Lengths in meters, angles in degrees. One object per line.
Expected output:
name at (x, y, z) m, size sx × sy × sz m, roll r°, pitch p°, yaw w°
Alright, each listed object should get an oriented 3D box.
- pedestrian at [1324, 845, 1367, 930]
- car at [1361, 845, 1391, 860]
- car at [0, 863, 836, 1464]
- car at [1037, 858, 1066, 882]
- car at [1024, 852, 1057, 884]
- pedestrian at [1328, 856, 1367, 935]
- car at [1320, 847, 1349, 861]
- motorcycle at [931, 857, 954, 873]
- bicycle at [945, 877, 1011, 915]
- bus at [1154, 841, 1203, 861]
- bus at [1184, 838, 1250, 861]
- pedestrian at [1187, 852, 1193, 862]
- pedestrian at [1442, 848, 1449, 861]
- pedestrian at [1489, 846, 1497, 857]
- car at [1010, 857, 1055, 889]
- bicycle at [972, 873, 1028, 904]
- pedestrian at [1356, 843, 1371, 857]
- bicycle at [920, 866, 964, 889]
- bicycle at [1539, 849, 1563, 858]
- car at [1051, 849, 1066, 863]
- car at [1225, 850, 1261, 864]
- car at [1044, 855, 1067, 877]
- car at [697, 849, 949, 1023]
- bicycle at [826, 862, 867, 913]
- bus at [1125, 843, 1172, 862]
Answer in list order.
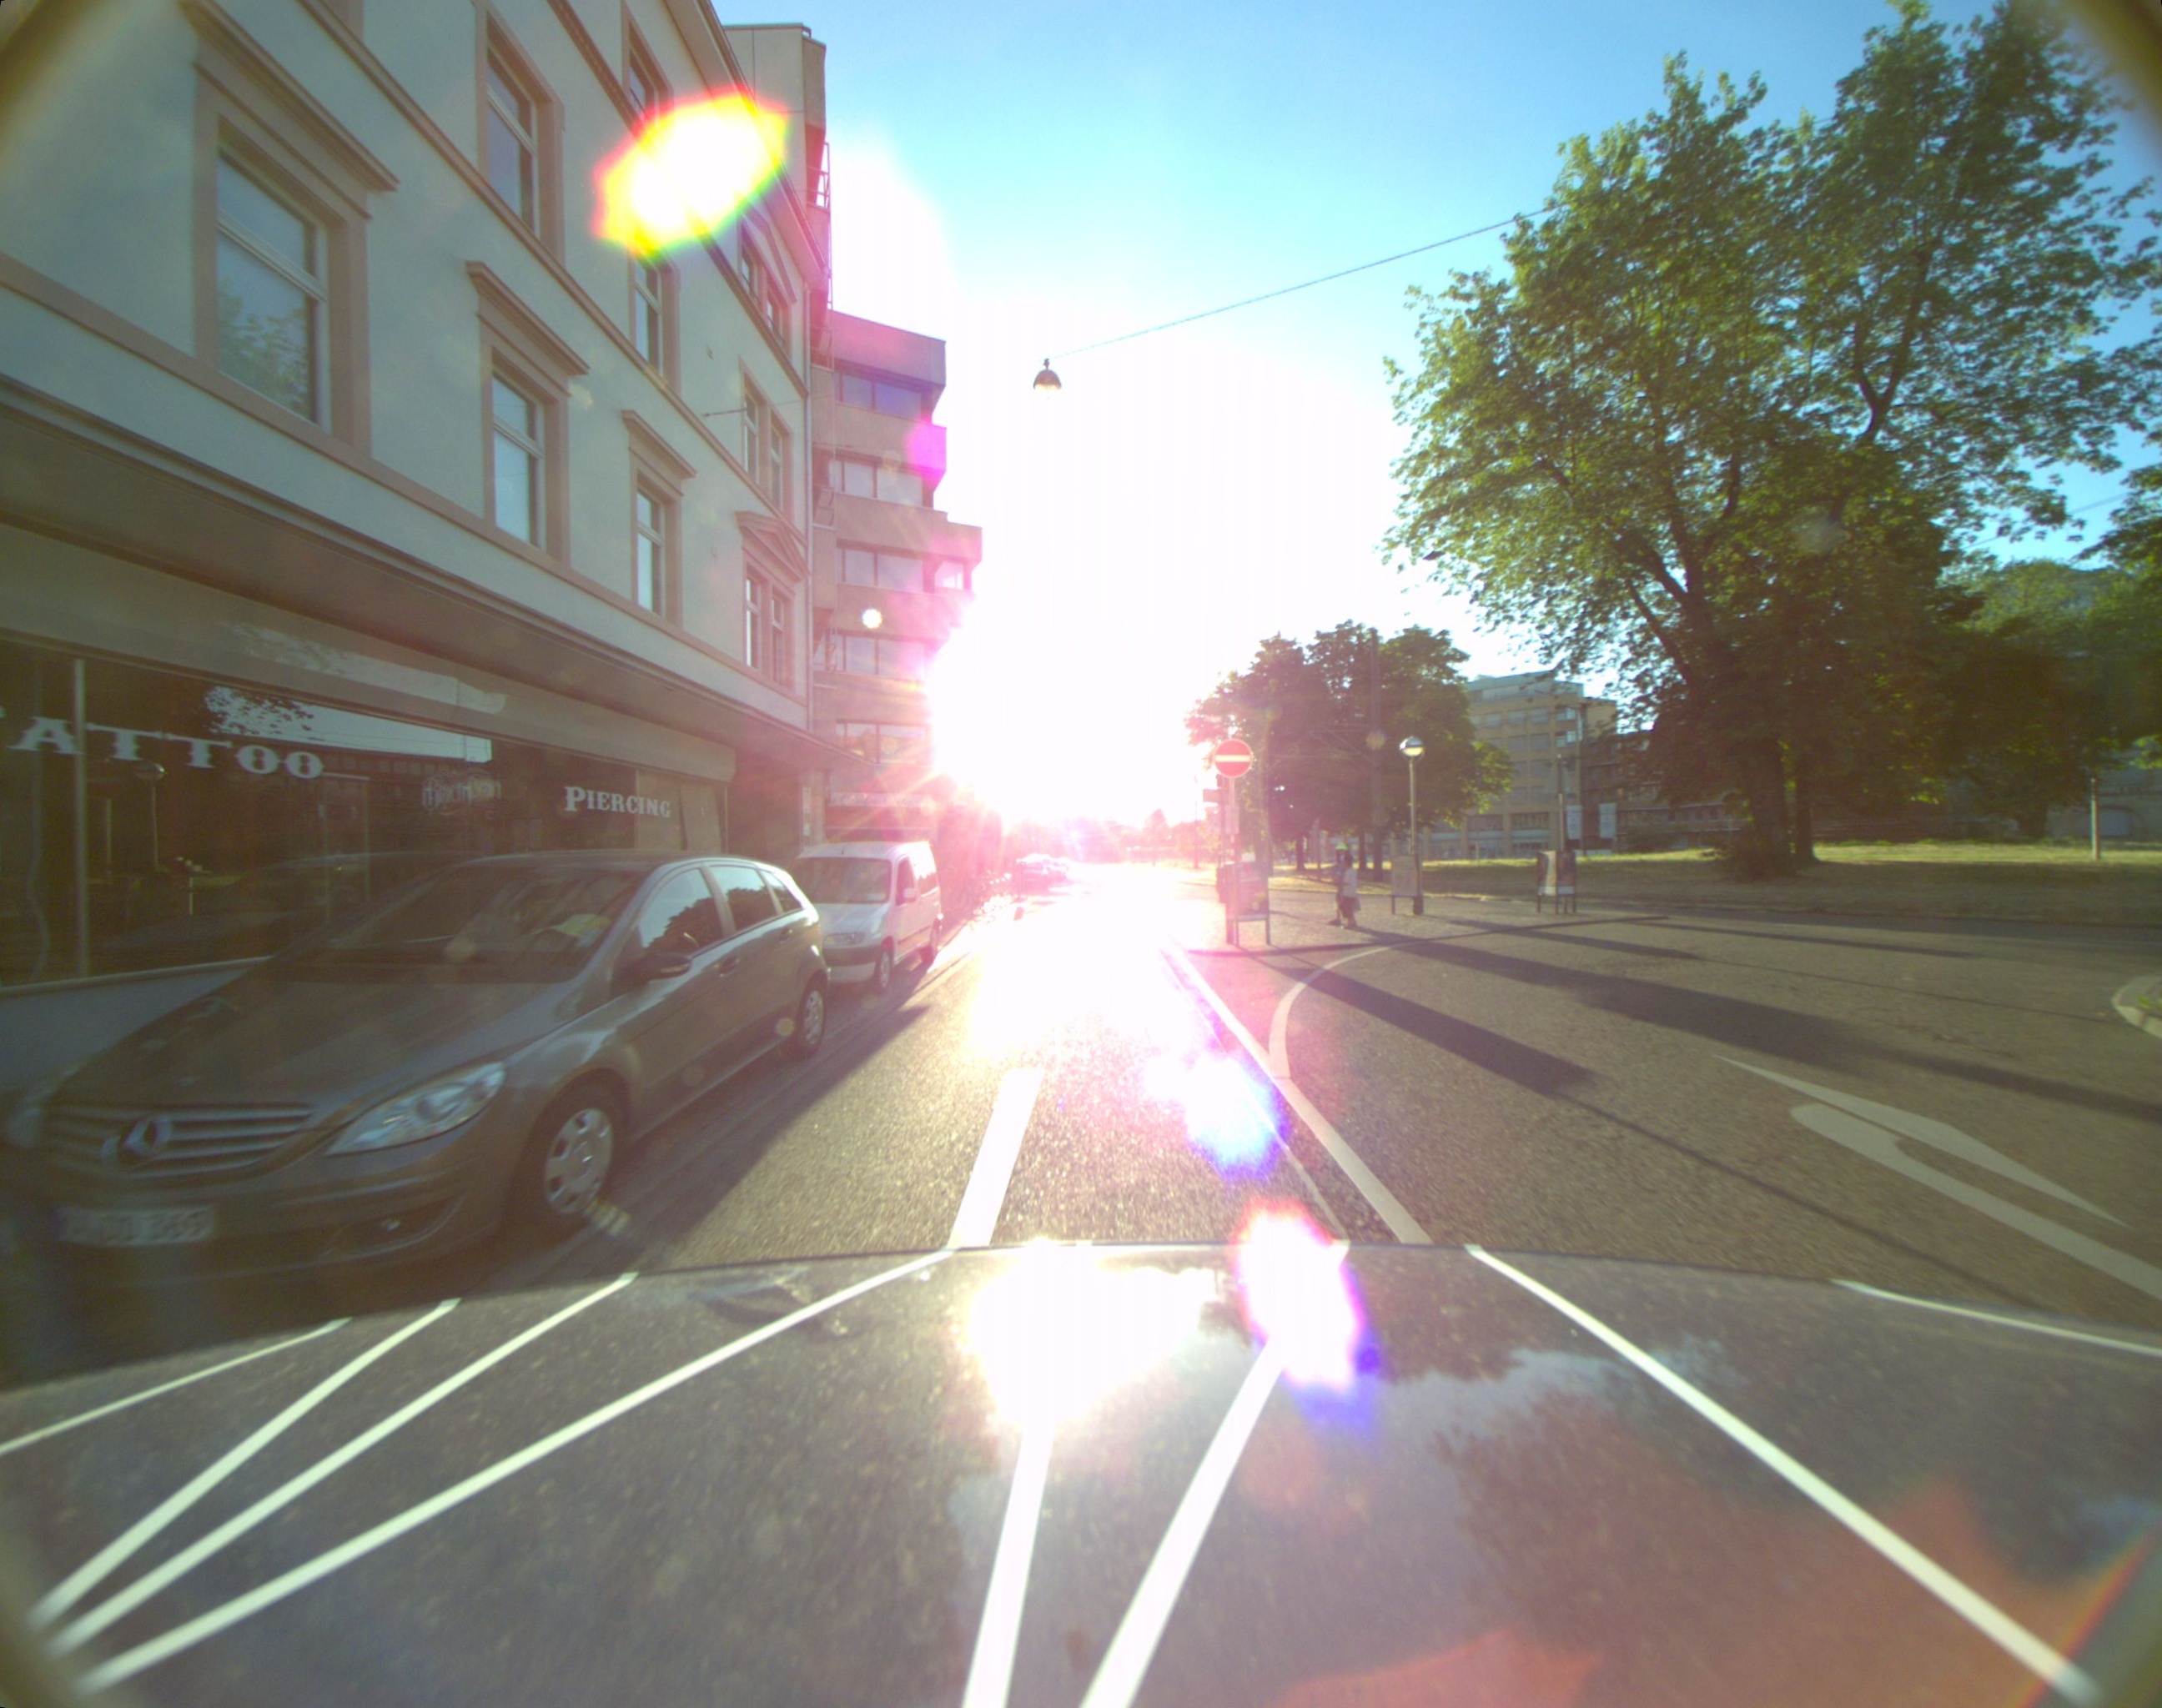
pedestrian at (5.006, 0.625, 14.367) m, size 0.693 × 1.550 × 0.700 m, roll -2°, pitch 0°, yaw 21°
car at (43.878, -0.198, 113.081) m, size 1.858 × 2.002 × 3.902 m, roll -2°, pitch 0°, yaw -29°
car at (-2.901, 0.926, 4.230) m, size 1.661 × 1.655 × 4.108 m, roll -2°, pitch 0°, yaw 0°
car at (-1.957, 1.033, 51.835) m, size 1.645 × 1.519 × 4.001 m, roll -2°, pitch 0°, yaw 1°
car at (-2.439, 0.847, 46.412) m, size 1.788 × 1.794 × 4.401 m, roll -2°, pitch 0°, yaw -1°
pedestrian at (4.795, 0.740, 13.656) m, size 0.613 × 1.356 × 0.565 m, roll -2°, pitch 2°, yaw 21°
car at (40.167, 0.005, 120.552) m, size 1.914 × 2.002 × 3.991 m, roll -2°, pitch 0°, yaw -29°
motorcycle at (-11.731, 0.930, 64.271) m, size 1.793 × 1.285 × 0.670 m, roll 0°, pitch 0°, yaw 16°
bicycle at (-2.936, 1.182, 21.584) m, size 1.789 × 0.984 × 0.543 m, roll 1°, pitch -1°, yaw 24°
bus at (17.779, -0.563, 139.656) m, size 3.765 × 3.311 × 10.716 m, roll -2°, pitch 0°, yaw -24°
bus at (22.800, -0.639, 128.477) m, size 3.765 × 3.342 × 13.688 m, roll -2°, pitch 0°, yaw -24°
pedestrian at (16.483, 0.510, 114.848) m, size 0.672 × 1.450 × 0.699 m, roll -2°, pitch 0°, yaw -3°
pedestrian at (50.724, 0.077, 105.621) m, size 0.532 × 1.682 × 0.617 m, roll -2°, pitch 0°, yaw -16°
pedestrian at (53.646, -0.320, 98.921) m, size 0.568 × 1.316 × 0.682 m, roll -2°, pitch 0°, yaw -21°
car at (-2.392, 0.922, 38.242) m, size 1.794 × 1.498 × 3.921 m, roll -2°, pitch 0°, yaw 2°
bicycle at (-2.722, 1.149, 25.627) m, size 1.789 × 0.984 × 0.543 m, roll 1°, pitch -1°, yaw 21°
pedestrian at (41.631, -0.562, 112.023) m, size 1.061 × 2.082 × 1.630 m, roll -2°, pitch 0°, yaw -36°
bicycle at (-6.158, 1.031, 33.758) m, size 1.896 × 0.999 × 0.457 m, roll 1°, pitch 0°, yaw -38°
bicycle at (54.057, -0.061, 87.372) m, size 2.194 × 1.005 × 0.473 m, roll 3°, pitch 4°, yaw 45°
car at (-2.580, 0.235, 88.317) m, size 1.655 × 1.525 × 4.066 m, roll -2°, pitch 0°, yaw 0°
car at (34.569, 0.632, 162.109) m, size 7.209 × 2.860 × 2.305 m, roll -1°, pitch 0°, yaw -22°
car at (-1.924, 0.891, 58.040) m, size 1.589 × 1.581 × 3.668 m, roll -2°, pitch 0°, yaw -1°
car at (-3.030, 0.847, 9.928) m, size 1.797 × 1.781 × 4.092 m, roll -1°, pitch 0°, yaw 1°
bicycle at (-6.500, 0.899, 21.022) m, size 0.416 × 1.269 × 1.659 m, roll -1°, pitch 3°, yaw -42°
bus at (13.183, -0.287, 150.023) m, size 3.765 × 3.435 × 12.110 m, roll -2°, pitch 0°, yaw -24°
